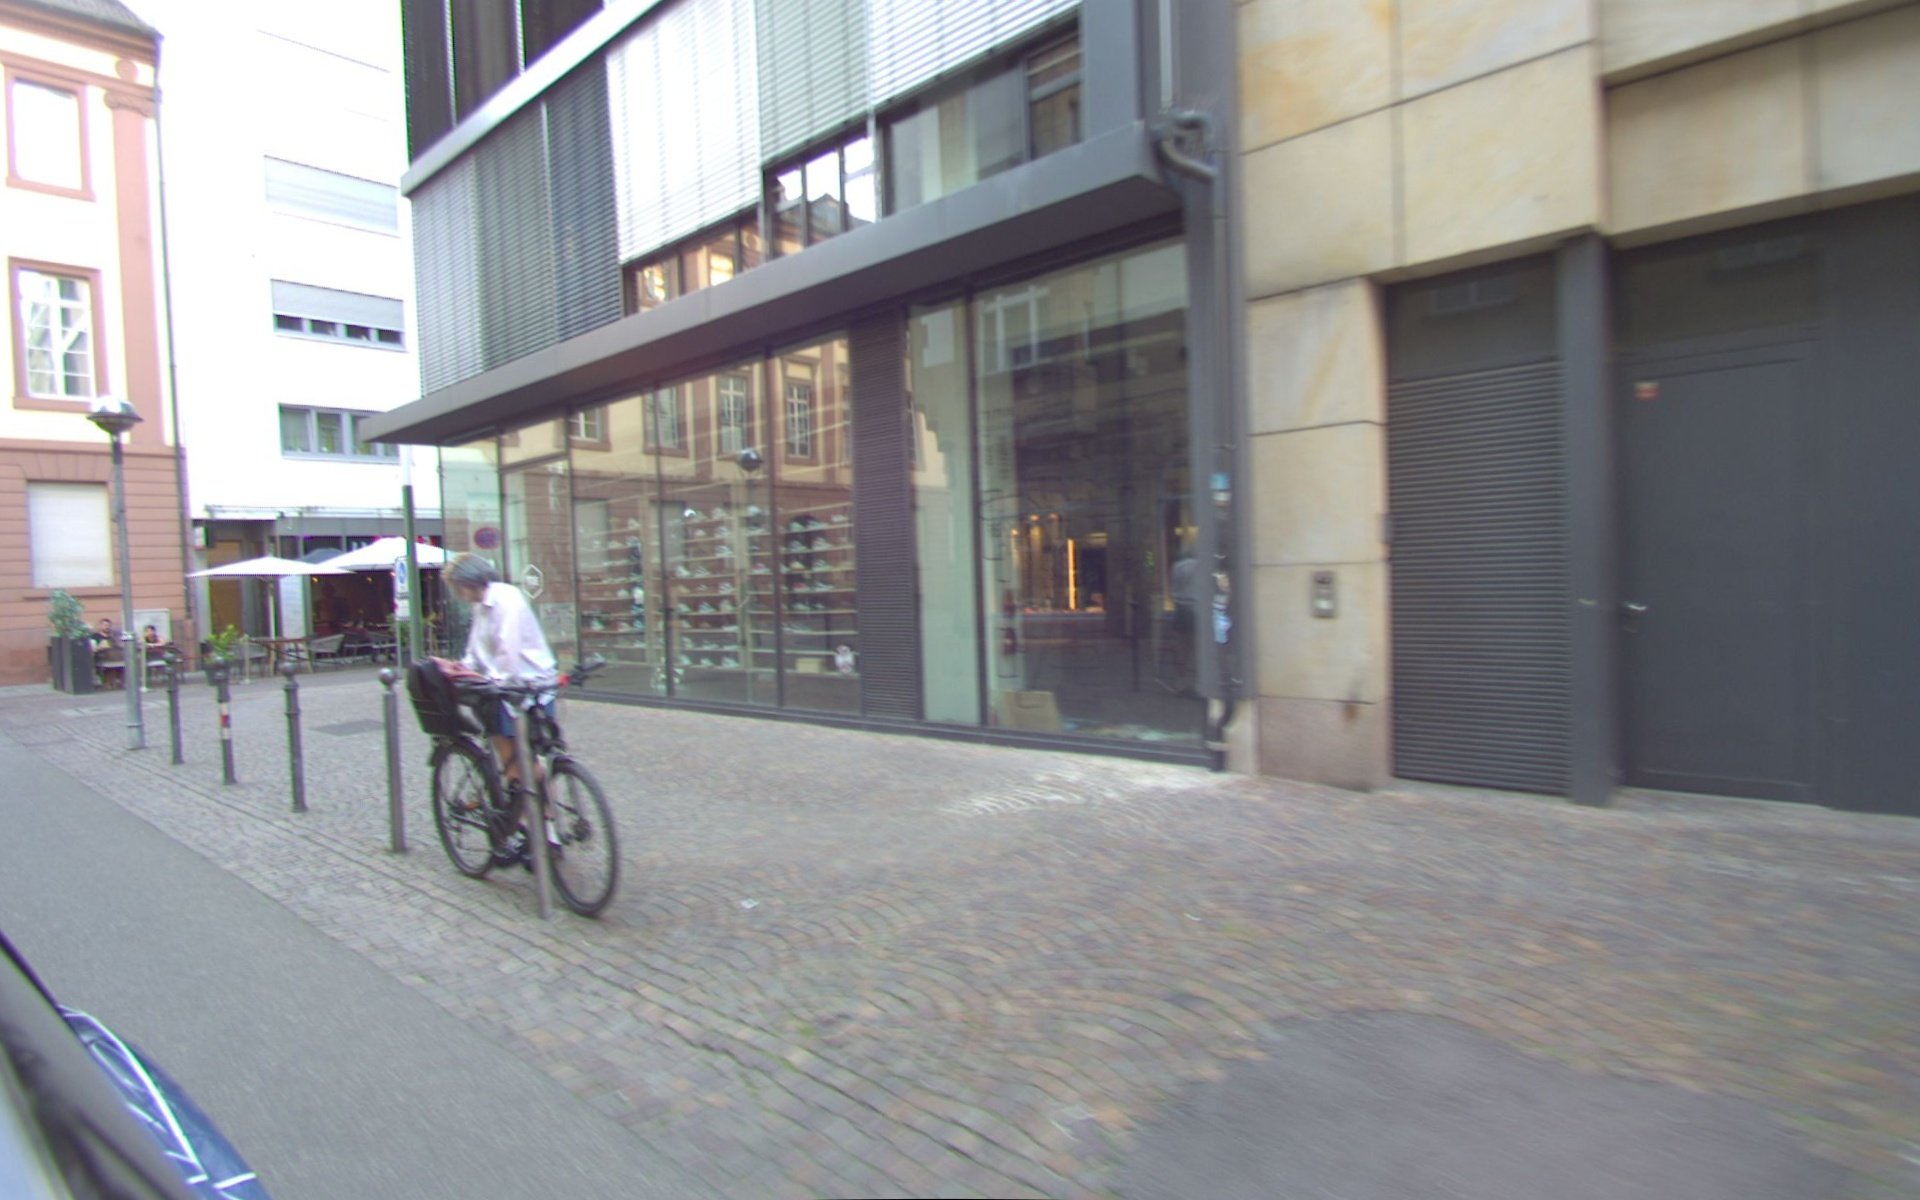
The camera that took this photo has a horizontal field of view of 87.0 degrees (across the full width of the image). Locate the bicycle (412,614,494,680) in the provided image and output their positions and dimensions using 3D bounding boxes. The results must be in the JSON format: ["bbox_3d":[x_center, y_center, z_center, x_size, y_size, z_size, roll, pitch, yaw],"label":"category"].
[{"bbox_3d":[-9.253,0.859,18.462,1.673,1.121,0.700,-3,0,41],"label":"bicycle"}]

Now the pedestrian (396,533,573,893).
[{"bbox_3d":[-2.480,0.540,5.364,0.582,1.731,0.772,-4,2,-13],"label":"pedestrian"}]

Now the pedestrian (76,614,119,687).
[{"bbox_3d":[-16.850,0.976,19.766,0.489,1.359,0.541,-2,1,44],"label":"pedestrian"}]

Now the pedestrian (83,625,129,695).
[{"bbox_3d":[-15.772,1.097,18.692,0.461,1.220,0.554,-2,1,44],"label":"pedestrian"}]

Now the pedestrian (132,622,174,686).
[{"bbox_3d":[-16.097,1.068,20.191,0.524,1.220,0.541,-2,1,44],"label":"pedestrian"}]

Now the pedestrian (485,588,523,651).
[{"bbox_3d":[-12.548,0.524,27.851,0.618,1.678,0.667,-2,0,14],"label":"pedestrian"}]

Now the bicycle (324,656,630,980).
[{"bbox_3d":[-2.317,0.885,4.721,1.914,1.162,0.527,-1,3,42],"label":"bicycle"}]
